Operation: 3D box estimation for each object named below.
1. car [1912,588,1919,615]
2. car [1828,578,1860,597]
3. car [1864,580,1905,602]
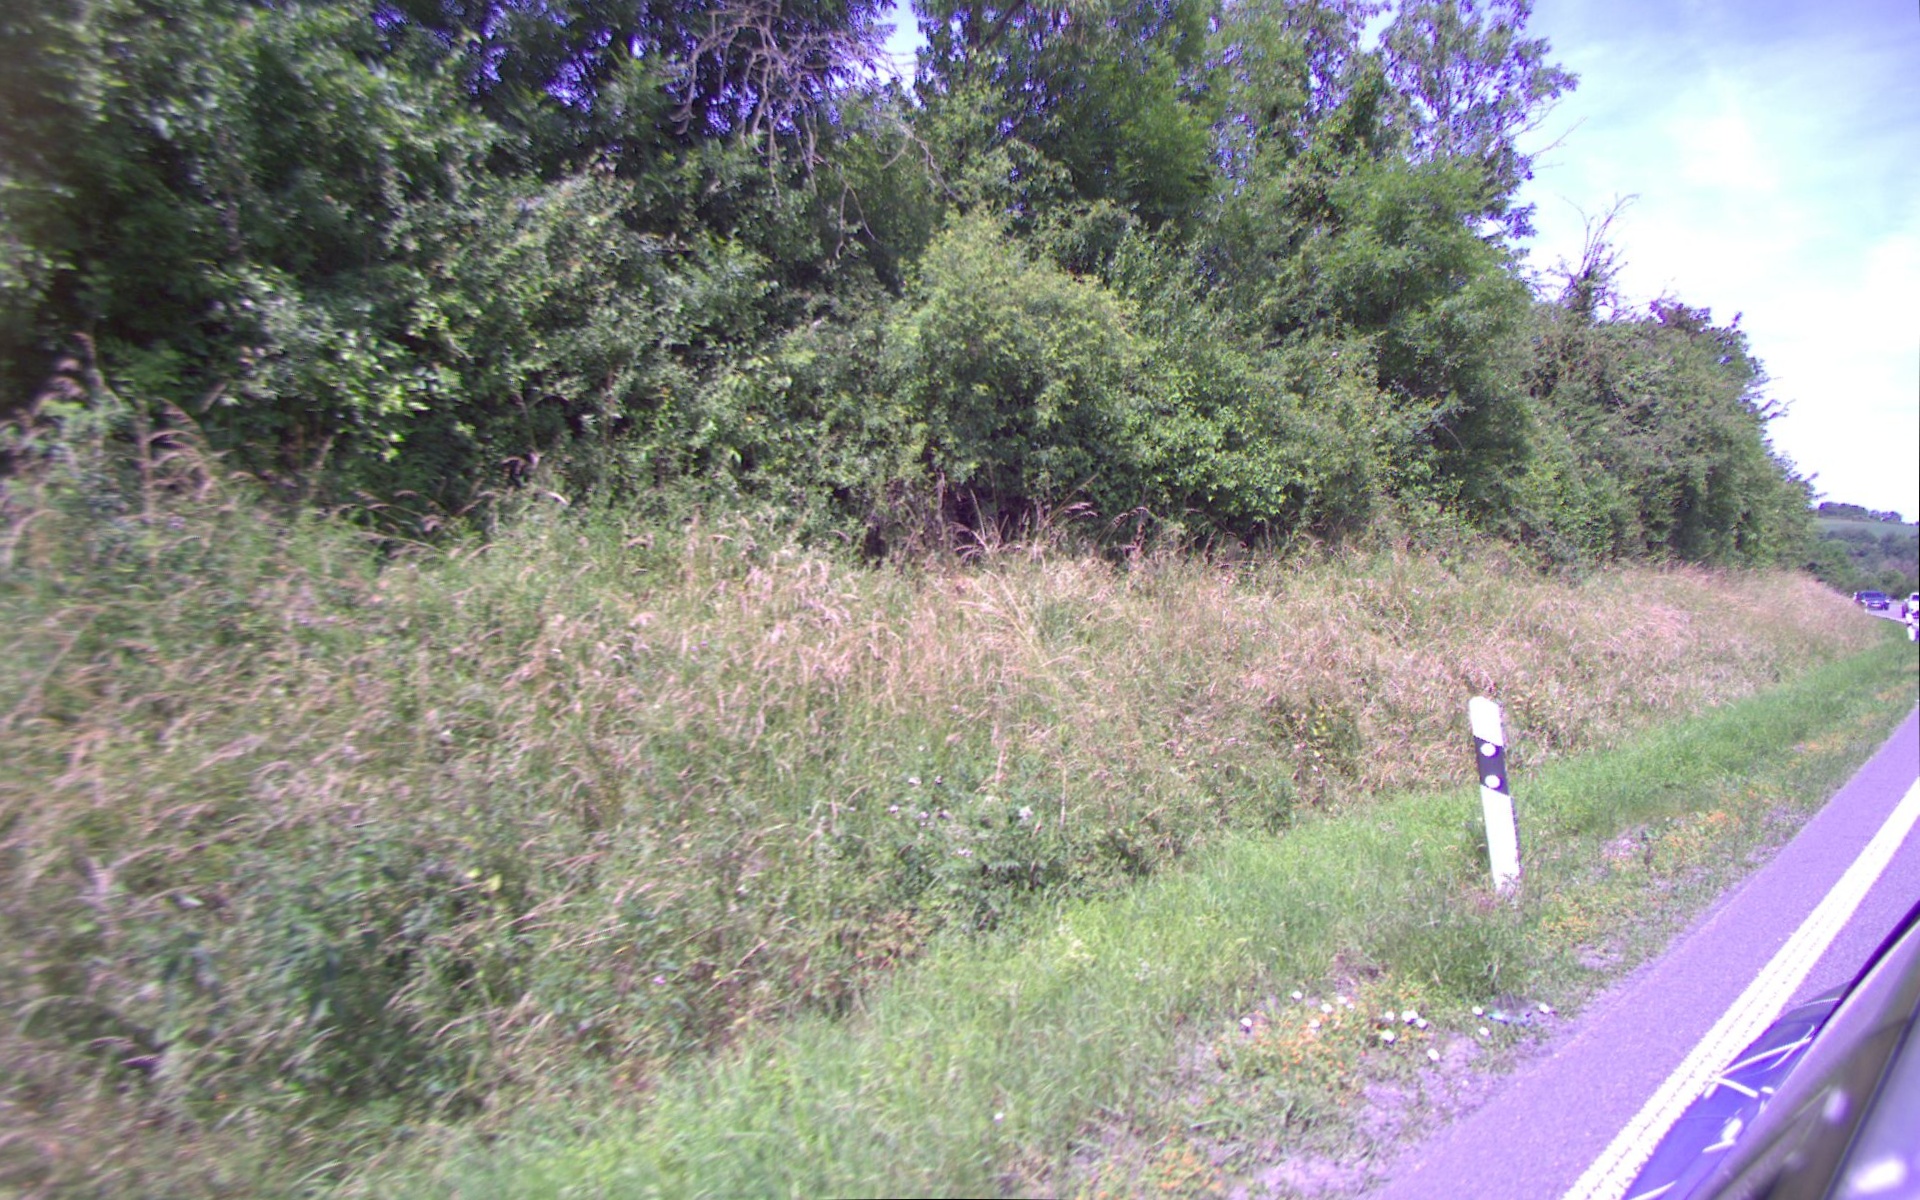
[{"bbox_3d":[58.489,0.068,60.557,1.858,1.507,3.944,0,1,39],"label":"car"},{"bbox_3d":[87.350,-1.260,100.005,1.655,1.670,3.954,5,4,32],"label":"car"},{"bbox_3d":[74.228,-0.740,81.281,1.815,1.537,3.950,5,4,35],"label":"car"}]
